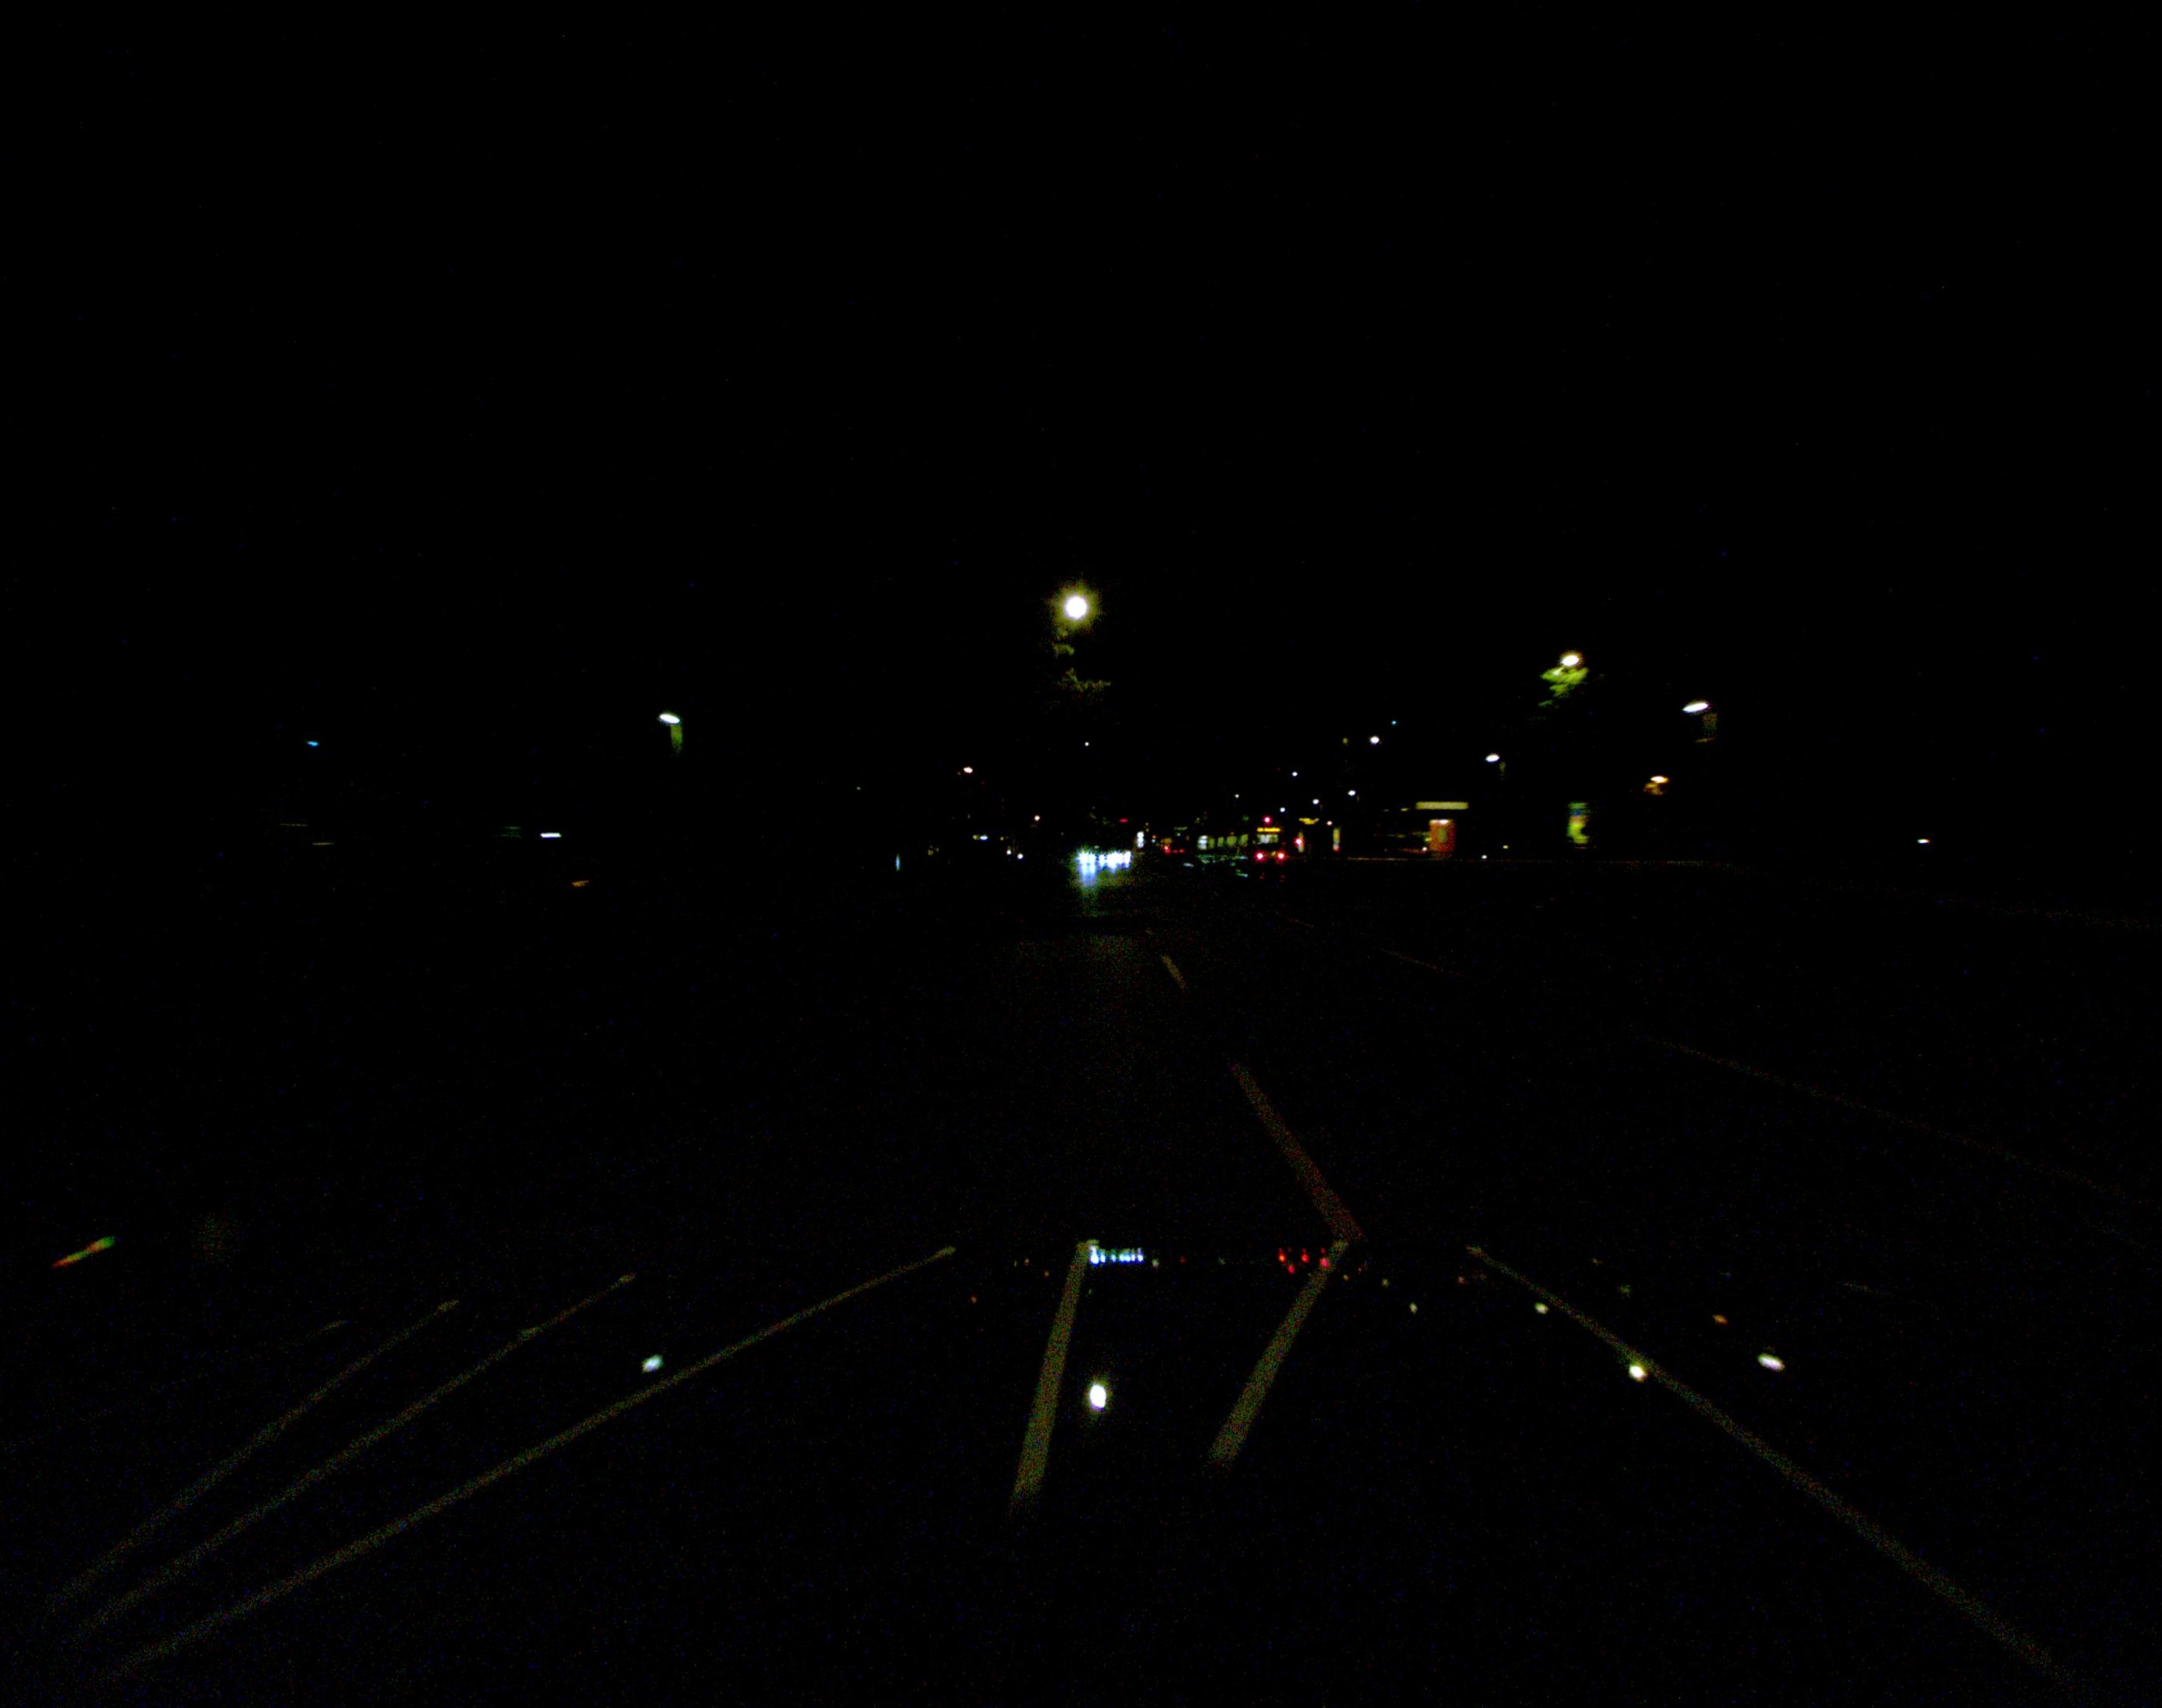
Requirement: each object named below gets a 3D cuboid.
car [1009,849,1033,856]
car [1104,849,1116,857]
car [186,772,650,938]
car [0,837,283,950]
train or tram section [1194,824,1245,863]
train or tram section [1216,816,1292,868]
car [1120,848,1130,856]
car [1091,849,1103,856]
[{"bbox_3d":[-10.105,-0.236,128.085,4.008,1.028,1.480,0,0,-40],"label":"car"},{"bbox_3d":[5.396,-0.168,140.705,1.858,1.482,3.560,-2,0,7],"label":"car"},{"bbox_3d":[-11.860,0.104,14.268,6.041,2.514,2.280,4,0,-16],"label":"car"},{"bbox_3d":[-16.583,0.586,13.506,1.813,1.702,3.959,1,0,-22],"label":"car"},{"bbox_3d":[15.280,-1.153,85.783,2.745,3.824,19.363,-2,1,2],"label":"train or tram section"},{"bbox_3d":[14.728,-0.982,66.758,2.765,3.805,18.670,-2,0,2],"label":"train or tram section"},{"bbox_3d":[8.799,-0.383,151.278,1.907,1.609,3.718,-2,1,2],"label":"car"},{"bbox_3d":[2.960,-0.302,140.589,1.947,1.299,3.907,0,1,7],"label":"car"}]
